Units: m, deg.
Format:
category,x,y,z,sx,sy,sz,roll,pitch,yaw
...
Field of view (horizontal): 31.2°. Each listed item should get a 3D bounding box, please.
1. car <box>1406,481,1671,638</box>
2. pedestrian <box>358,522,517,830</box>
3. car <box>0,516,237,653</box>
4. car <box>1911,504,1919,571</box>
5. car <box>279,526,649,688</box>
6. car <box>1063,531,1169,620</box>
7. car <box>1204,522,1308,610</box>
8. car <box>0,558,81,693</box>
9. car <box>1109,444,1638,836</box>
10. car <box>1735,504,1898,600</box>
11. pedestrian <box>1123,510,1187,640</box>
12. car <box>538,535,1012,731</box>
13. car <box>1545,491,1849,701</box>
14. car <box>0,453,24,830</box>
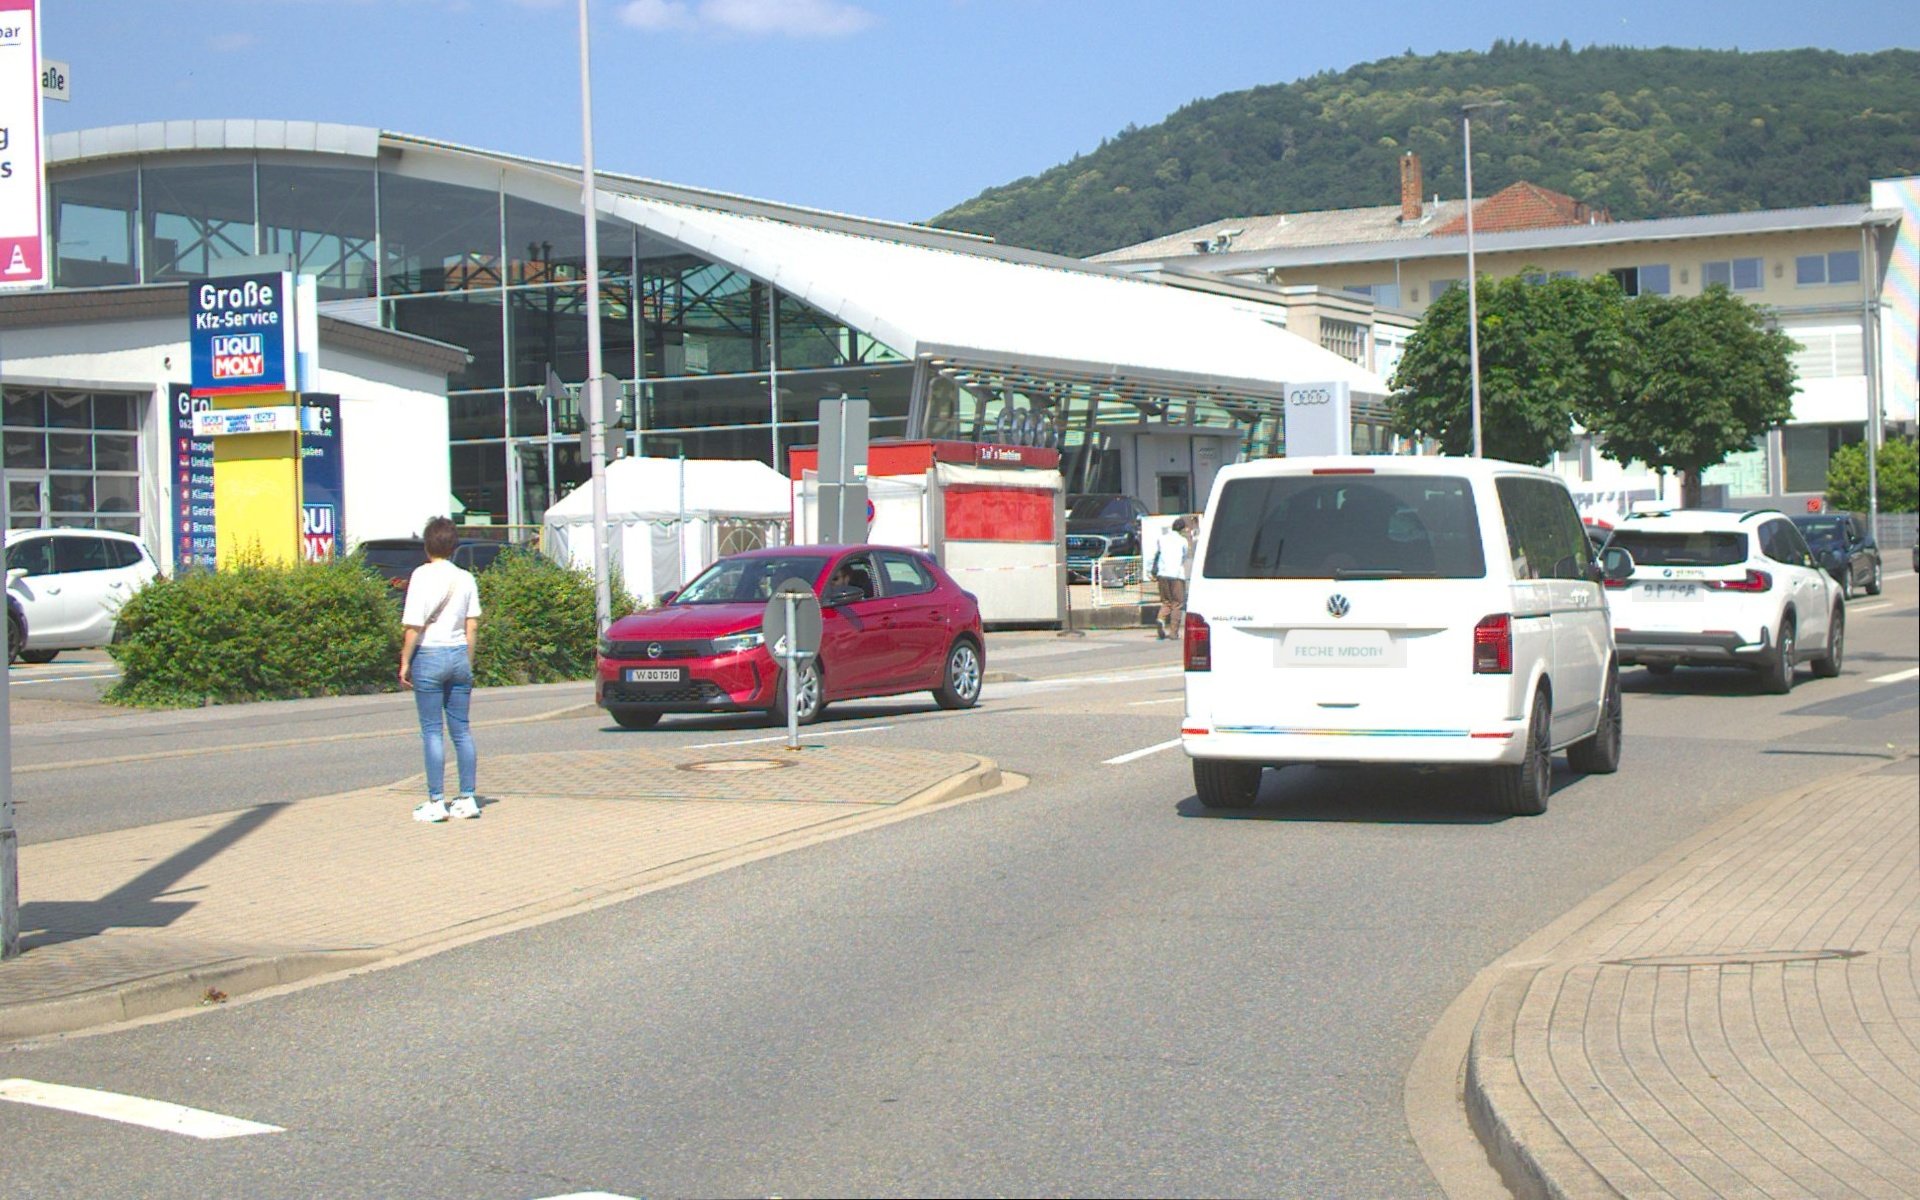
category,x,y,z,sx,sy,sz,roll,pitch,yaw
car,7.165,-0.533,42.209,1.911,1.754,4.445,-2,1,27
pedestrian,-2.887,0.405,18.968,0.759,1.651,0.673,-2,1,-15
car,-11.227,-0.179,42.345,1.883,1.583,4.922,-3,0,25
car,22.516,-1.454,76.662,1.843,1.459,3.995,-2,1,25
car,-5.448,0.044,38.223,1.997,1.612,3.994,-1,1,29
car,2.965,-0.488,64.742,1.746,1.579,3.661,-2,1,6
car,5.595,-0.657,65.296,1.745,1.579,3.661,-2,1,2
car,-11.673,0.351,36.862,2.029,1.422,4.312,-2,1,25
car,2.598,0.130,20.315,2.164,2.007,5.014,1,2,18
car,14.332,-0.821,57.400,1.843,1.459,3.995,-2,1,26
pedestrian,2.730,-0.354,48.060,0.760,1.782,0.784,-1,1,10
car,-1.426,0.235,28.167,1.844,1.459,4.136,-2,0,31
car,6.820,-0.104,31.515,1.996,1.701,3.996,1,3,23
car,-7.522,0.321,17.894,2.025,2.107,4.925,0,2,35
